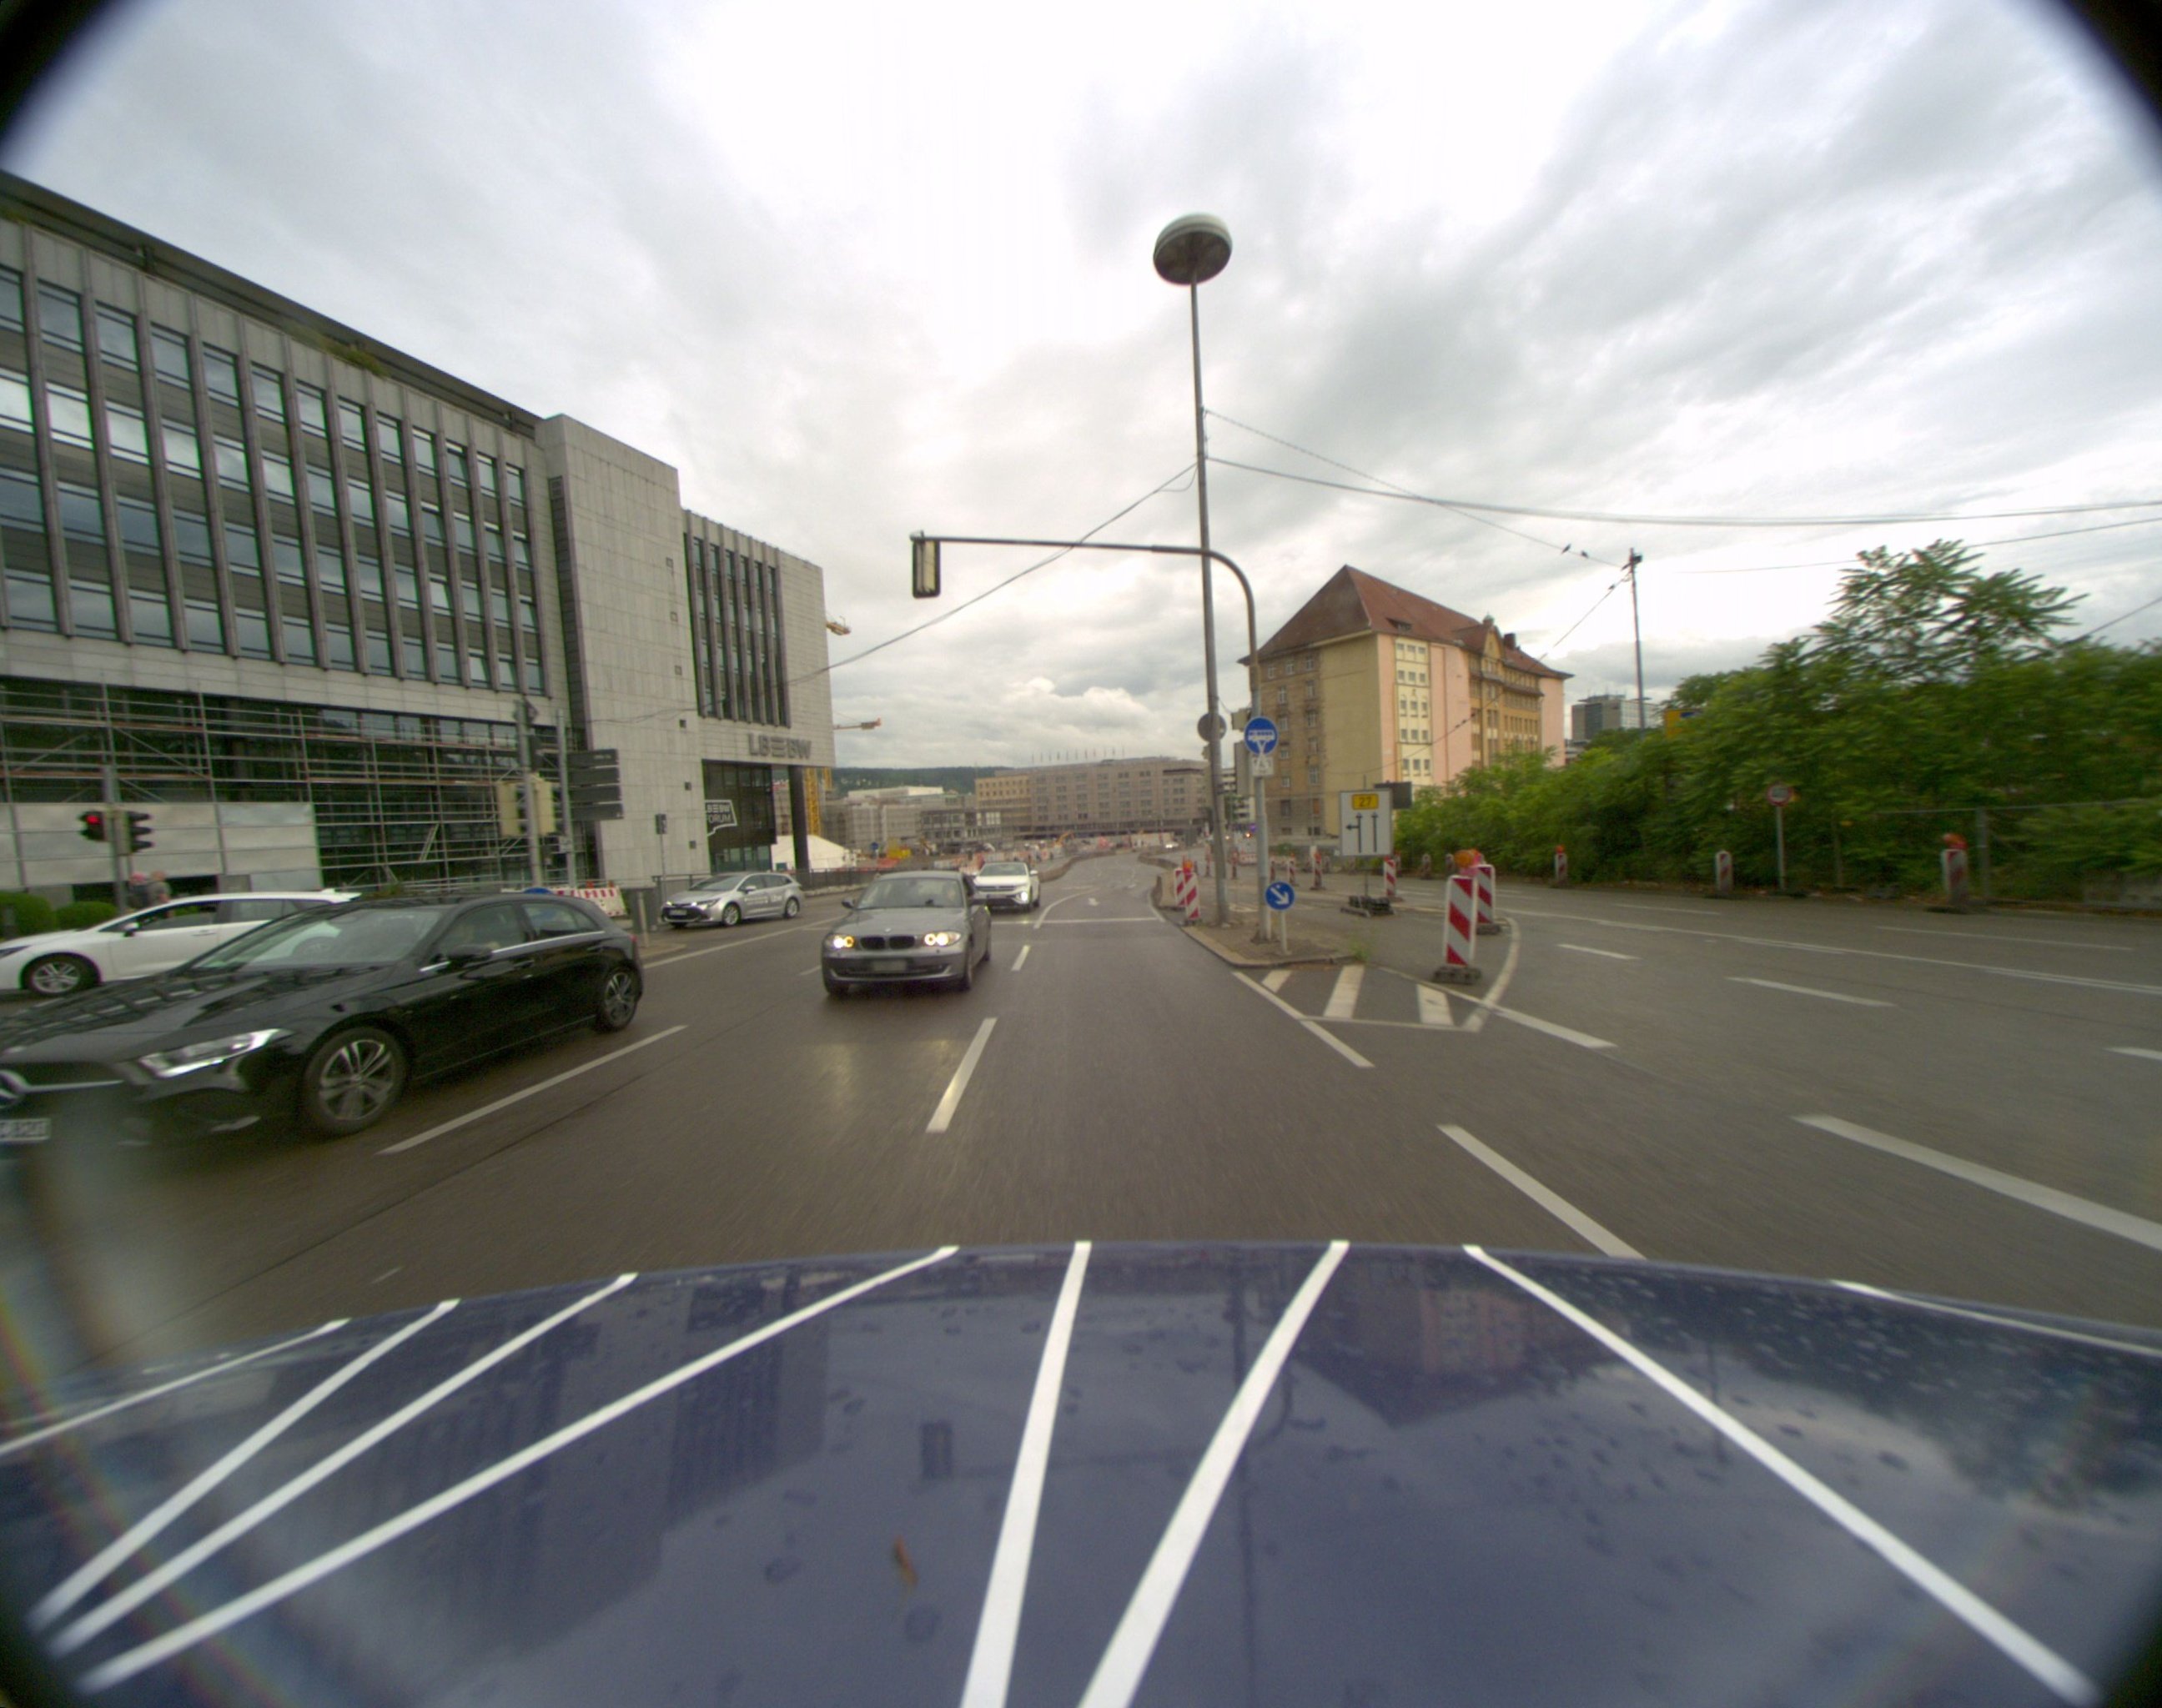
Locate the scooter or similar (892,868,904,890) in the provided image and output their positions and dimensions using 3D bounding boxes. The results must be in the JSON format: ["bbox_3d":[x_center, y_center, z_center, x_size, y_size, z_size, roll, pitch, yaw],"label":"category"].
[{"bbox_3d":[-10.084,1.391,41.960,0.349,1.156,0.573,-2,2,15],"label":"scooter or similar"}]

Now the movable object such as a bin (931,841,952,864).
[{"bbox_3d":[-22.981,-0.269,125.135,1.941,3.391,4.231,-2,3,8],"label":"movable object such as a bin"}]

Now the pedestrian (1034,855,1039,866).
[{"bbox_3d":[-6.534,0.937,111.138,0.648,1.624,0.907,-3,3,1],"label":"pedestrian"}]

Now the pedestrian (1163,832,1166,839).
[{"bbox_3d":[21.018,-4.540,190.120,0.648,1.660,0.766,-1,4,12],"label":"pedestrian"}]

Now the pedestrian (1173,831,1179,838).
[{"bbox_3d":[25.584,-5.274,204.605,1.097,1.752,0.907,1,4,28],"label":"pedestrian"}]

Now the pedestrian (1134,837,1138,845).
[{"bbox_3d":[12.213,-2.823,169.298,0.654,1.682,0.776,0,4,25],"label":"pedestrian"}]

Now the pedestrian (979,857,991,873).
[{"bbox_3d":[-10.395,1.167,82.080,0.861,1.585,0.953,-1,4,28],"label":"pedestrian"}]

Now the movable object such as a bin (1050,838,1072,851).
[{"bbox_3d":[-4.139,-1.973,161.201,4.134,2.522,1.994,-5,4,-34],"label":"movable object such as a bin"}]

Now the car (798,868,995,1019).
[{"bbox_3d":[-2.213,1.005,10.221,1.744,1.435,3.998,-3,1,-2],"label":"car"}]

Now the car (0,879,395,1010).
[{"bbox_3d":[-14.695,1.361,12.727,1.772,1.625,4.589,-2,1,44],"label":"car"}]

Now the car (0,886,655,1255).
[{"bbox_3d":[-5.195,1.096,5.575,1.759,1.399,4.226,-1,2,-1],"label":"car"}]

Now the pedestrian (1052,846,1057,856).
[{"bbox_3d":[-4.674,-0.497,133.870,0.745,1.697,0.687,0,4,14],"label":"pedestrian"}]

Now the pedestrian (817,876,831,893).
[{"bbox_3d":[-27.268,3.241,80.527,0.866,1.628,1.009,-1,4,29],"label":"pedestrian"}]

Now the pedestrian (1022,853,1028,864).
[{"bbox_3d":[-8.537,0.708,115.597,0.609,1.514,0.886,-2,3,20],"label":"pedestrian"}]

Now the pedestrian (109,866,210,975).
[{"bbox_3d":[-18.902,1.333,15.620,0.856,2.087,0.903,-5,1,-23],"label":"pedestrian"}]

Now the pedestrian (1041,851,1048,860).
[{"bbox_3d":[-6.309,0.264,131.434,0.647,1.545,0.767,0,4,37],"label":"pedestrian"}]

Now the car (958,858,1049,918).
[{"bbox_3d":[-2.264,0.978,23.430,1.968,1.540,4.220,-2,0,5],"label":"car"}]

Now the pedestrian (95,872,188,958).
[{"bbox_3d":[-19.933,1.274,16.141,0.731,1.702,0.843,-3,3,0],"label":"pedestrian"}]

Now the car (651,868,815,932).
[{"bbox_3d":[-9.599,1.219,21.433,1.703,1.442,4.620,-3,0,12],"label":"car"}]

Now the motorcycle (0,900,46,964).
[{"bbox_3d":[-24.300,1.740,16.800,1.729,1.346,0.606,-2,1,-7],"label":"motorcycle"}]

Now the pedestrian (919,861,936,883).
[{"bbox_3d":[-12.394,1.446,61.396,0.730,1.643,1.062,-2,2,28],"label":"pedestrian"}]

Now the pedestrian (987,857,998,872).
[{"bbox_3d":[-9.540,1.126,82.087,0.732,1.566,0.806,-2,3,28],"label":"pedestrian"}]

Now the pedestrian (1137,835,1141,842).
[{"bbox_3d":[13.313,-3.494,173.329,0.654,1.682,0.776,0,4,25],"label":"pedestrian"}]

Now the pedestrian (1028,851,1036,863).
[{"bbox_3d":[-8.008,0.481,125.104,0.867,1.808,1.009,-2,3,20],"label":"pedestrian"}]

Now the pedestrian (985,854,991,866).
[{"bbox_3d":[-14.030,0.858,114.695,0.567,1.739,0.495,-2,3,19],"label":"pedestrian"}]

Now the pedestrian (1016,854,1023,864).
[{"bbox_3d":[-9.335,0.744,115.614,0.715,1.545,1.009,-2,3,20],"label":"pedestrian"}]

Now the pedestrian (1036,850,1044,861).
[{"bbox_3d":[-7.015,0.299,129.487,0.818,1.839,0.933,0,4,37],"label":"pedestrian"}]
